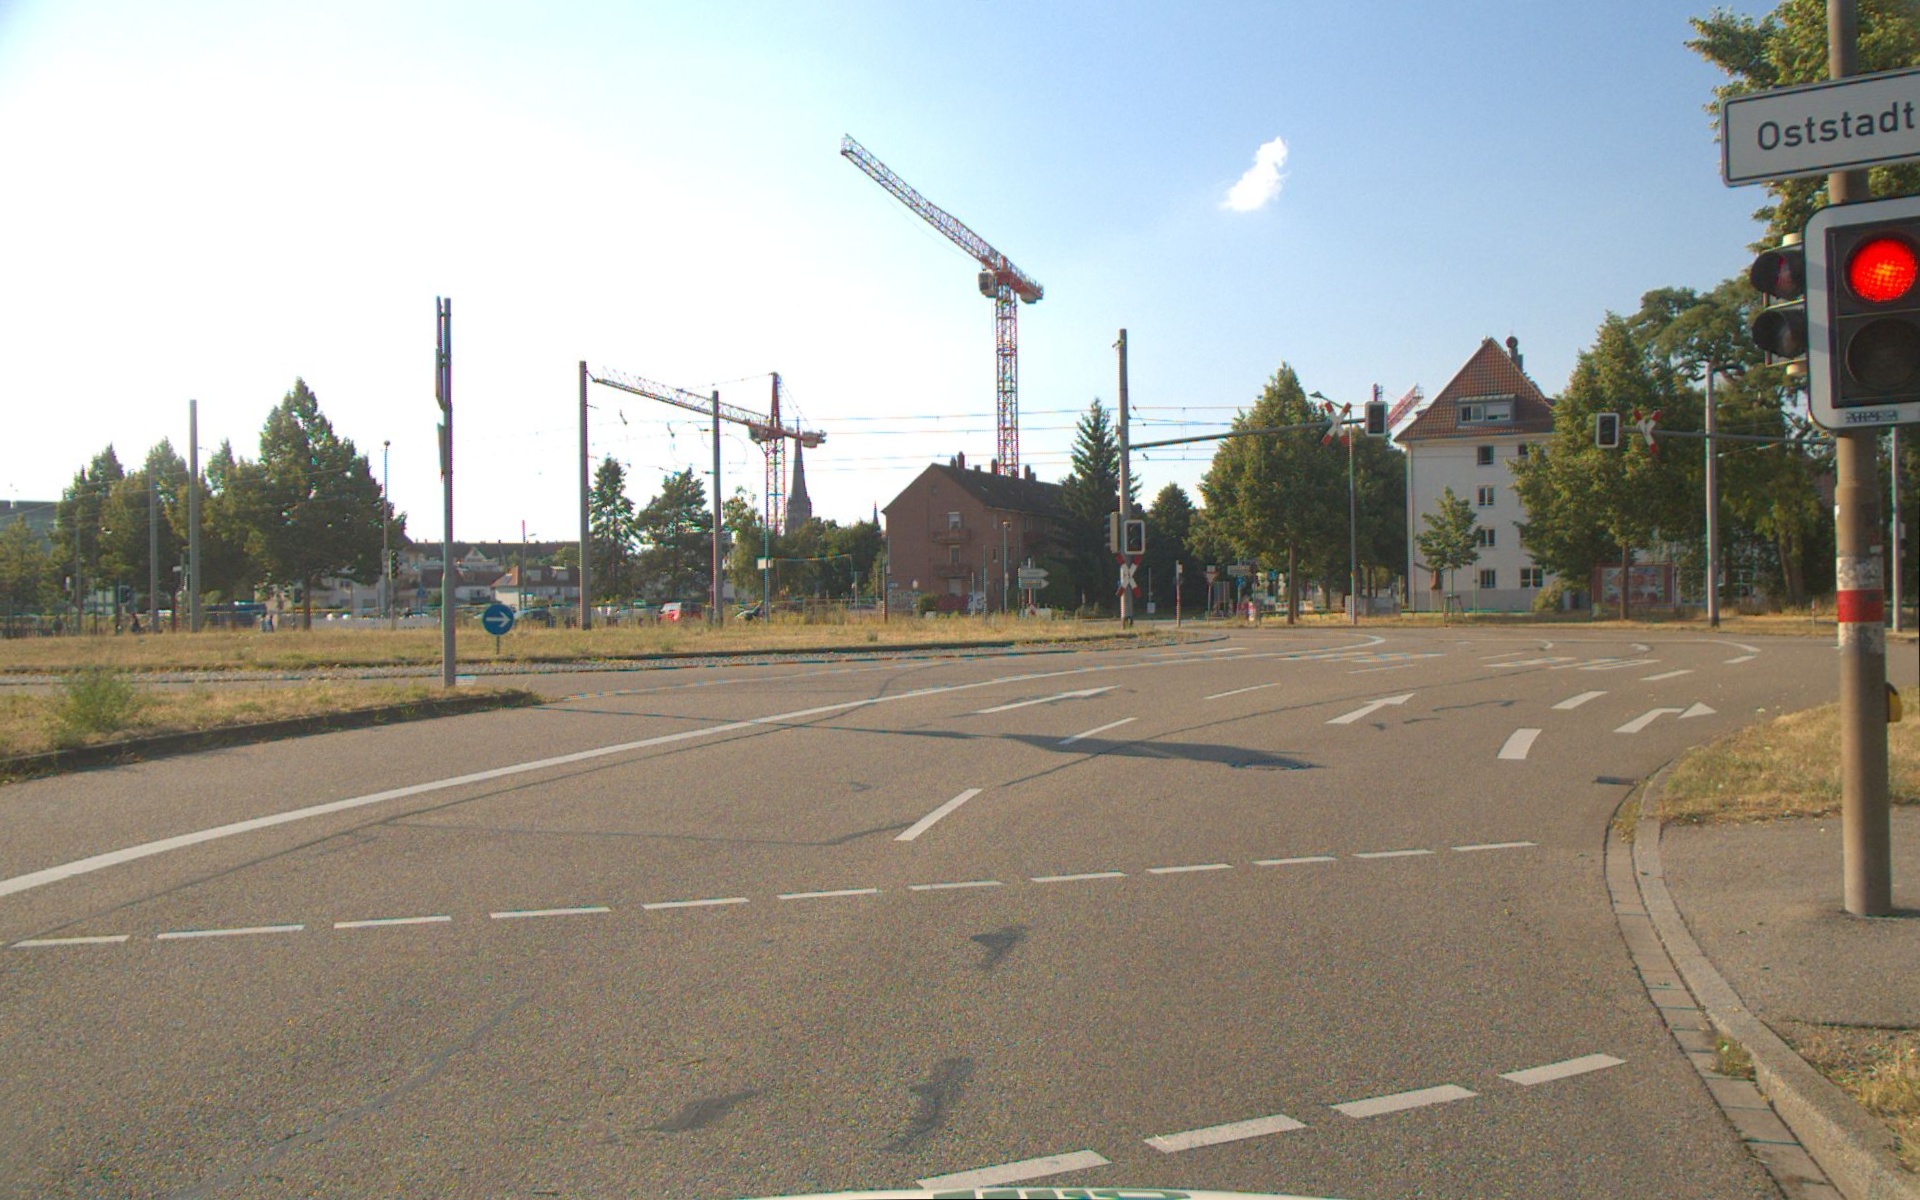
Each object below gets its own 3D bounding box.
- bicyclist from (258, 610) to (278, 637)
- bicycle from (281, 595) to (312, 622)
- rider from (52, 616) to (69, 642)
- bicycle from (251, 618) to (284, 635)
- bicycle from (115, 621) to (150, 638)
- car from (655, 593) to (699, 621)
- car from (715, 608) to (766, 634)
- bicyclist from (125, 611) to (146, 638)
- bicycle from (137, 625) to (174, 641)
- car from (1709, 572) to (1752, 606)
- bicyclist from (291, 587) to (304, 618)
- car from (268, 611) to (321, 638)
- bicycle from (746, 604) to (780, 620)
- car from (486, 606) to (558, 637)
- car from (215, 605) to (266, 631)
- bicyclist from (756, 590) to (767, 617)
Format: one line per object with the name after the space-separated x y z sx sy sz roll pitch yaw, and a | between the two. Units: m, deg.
-37.309 1.259 89.170 0.943 1.381 0.687 -1 0 -27 | bicyclist
-36.738 0.468 91.563 1.522 1.499 0.475 -1 0 -29 | bicycle
-47.988 1.559 88.221 0.649 1.349 0.677 -1 0 -43 | rider
-37.322 1.429 89.161 1.595 0.875 0.540 -1 0 -27 | bicycle
-43.558 1.553 87.078 1.595 0.875 0.540 -1 0 -27 | bicycle
-19.868 0.466 115.921 1.898 1.886 3.962 -1 0 -28 | car
-17.597 1.698 132.584 3.728 2.049 1.673 -1 -1 18 | car
-43.426 1.281 87.139 0.943 1.381 0.687 -1 0 -28 | bicyclist
-41.977 1.730 86.314 0.472 0.757 1.711 -1 0 42 | bicycle
38.541 -0.526 82.697 1.737 1.646 3.963 -1 -1 27 | car
-36.676 0.114 91.558 0.600 1.701 0.473 0 -1 -30 | bicyclist
-52.268 1.935 129.915 3.917 2.049 1.994 -1 0 34 | car
-11.411 0.693 95.857 1.949 0.934 0.429 -1 0 -6 | bicycle
-27.721 1.331 104.710 3.950 1.847 1.977 -1 0 -33 | car
-58.641 1.468 134.868 3.917 2.049 1.994 -1 0 34 | car
-11.516 0.204 95.848 0.610 1.537 0.418 -1 0 -6 | bicyclist
